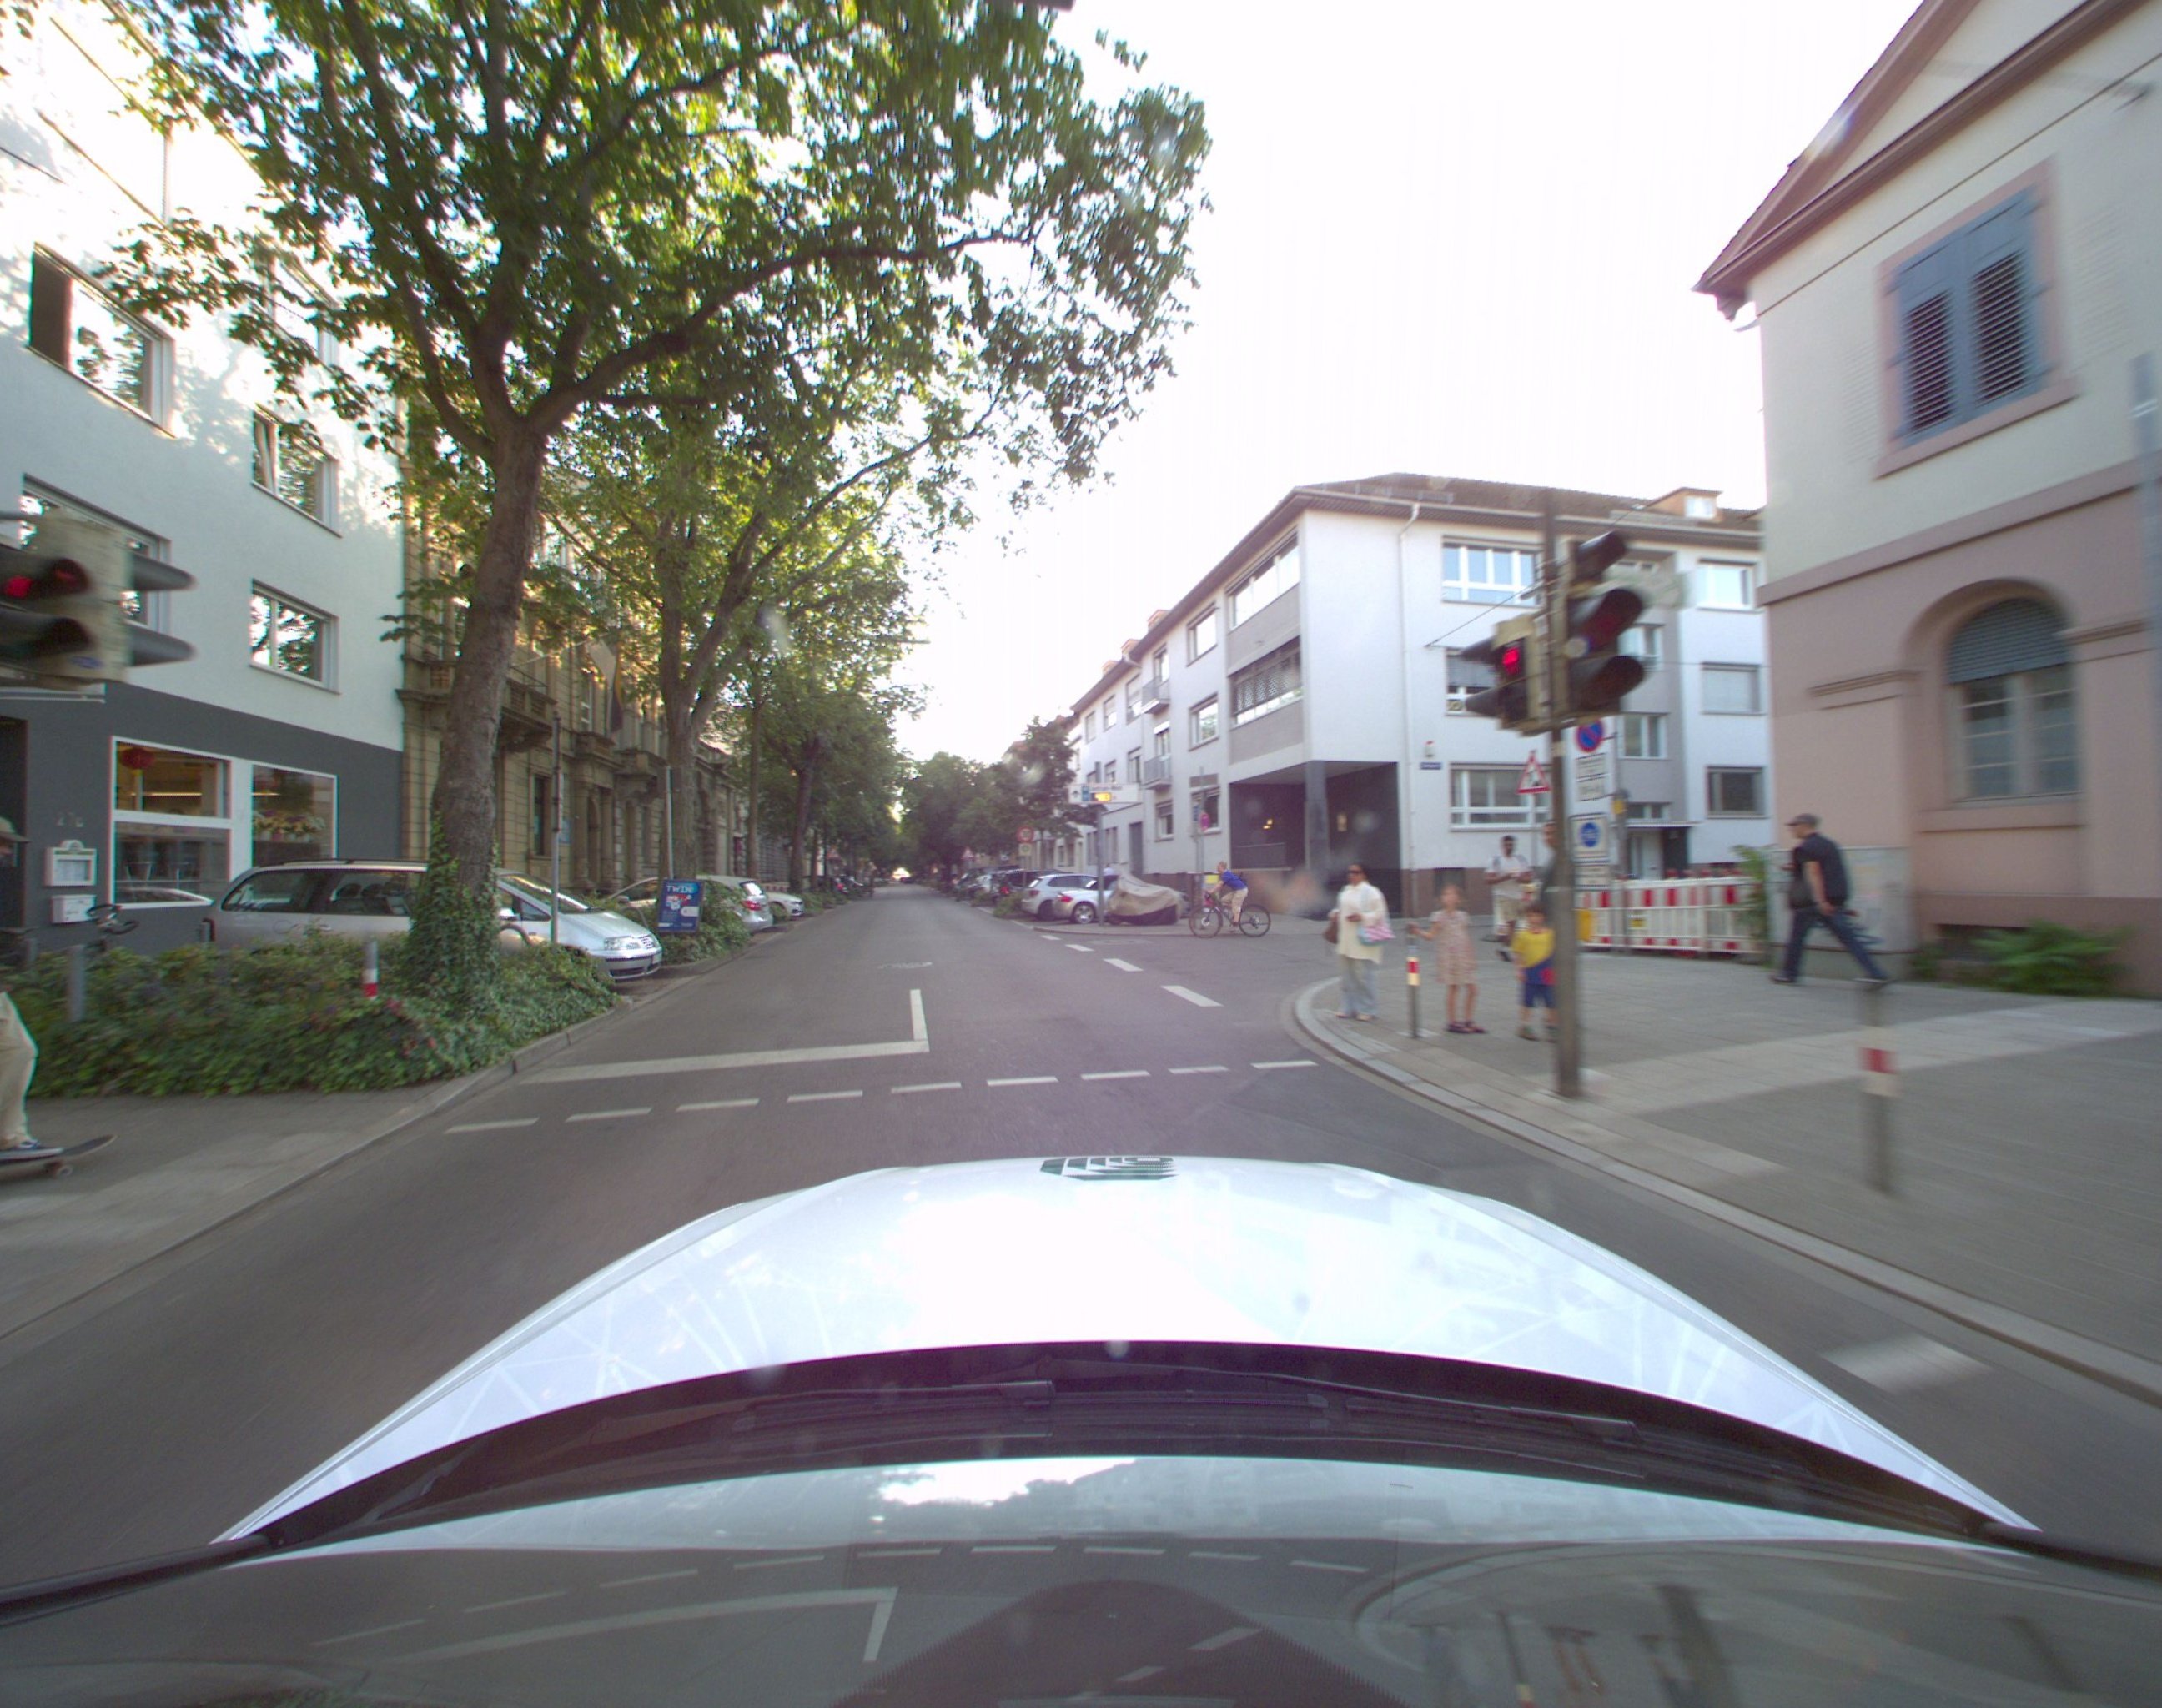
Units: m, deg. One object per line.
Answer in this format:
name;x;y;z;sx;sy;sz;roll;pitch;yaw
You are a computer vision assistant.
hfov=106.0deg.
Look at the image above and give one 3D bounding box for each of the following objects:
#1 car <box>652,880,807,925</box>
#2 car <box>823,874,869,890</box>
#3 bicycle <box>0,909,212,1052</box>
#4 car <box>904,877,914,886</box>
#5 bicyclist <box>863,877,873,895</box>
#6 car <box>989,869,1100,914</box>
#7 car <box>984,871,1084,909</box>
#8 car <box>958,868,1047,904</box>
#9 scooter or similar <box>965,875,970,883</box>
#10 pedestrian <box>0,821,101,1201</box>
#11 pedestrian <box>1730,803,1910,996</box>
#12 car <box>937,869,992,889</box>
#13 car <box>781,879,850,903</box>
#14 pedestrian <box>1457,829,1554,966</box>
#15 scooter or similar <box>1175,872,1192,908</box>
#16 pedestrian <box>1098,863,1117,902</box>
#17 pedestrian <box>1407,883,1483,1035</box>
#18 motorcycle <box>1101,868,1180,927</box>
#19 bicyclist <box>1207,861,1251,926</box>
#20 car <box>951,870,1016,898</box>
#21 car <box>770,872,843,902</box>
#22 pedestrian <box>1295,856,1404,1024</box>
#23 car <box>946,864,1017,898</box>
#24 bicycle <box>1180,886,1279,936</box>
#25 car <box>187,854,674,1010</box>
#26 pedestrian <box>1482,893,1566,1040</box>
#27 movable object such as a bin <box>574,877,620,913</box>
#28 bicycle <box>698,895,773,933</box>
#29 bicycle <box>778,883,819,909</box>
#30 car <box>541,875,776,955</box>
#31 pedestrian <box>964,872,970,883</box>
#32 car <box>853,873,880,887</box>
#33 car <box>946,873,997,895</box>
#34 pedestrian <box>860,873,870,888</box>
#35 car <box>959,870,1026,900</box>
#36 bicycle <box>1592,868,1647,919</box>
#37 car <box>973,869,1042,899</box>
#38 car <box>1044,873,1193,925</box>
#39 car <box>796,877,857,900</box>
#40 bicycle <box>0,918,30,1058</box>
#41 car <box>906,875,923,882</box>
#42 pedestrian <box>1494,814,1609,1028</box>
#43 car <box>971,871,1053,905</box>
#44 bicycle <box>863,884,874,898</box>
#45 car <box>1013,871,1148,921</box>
car;-11.843;1.612;27.724;4.516;1.390;1.908;0;-2;-12
car;-24.529;2.948;85.232;4.429;1.651;1.864;1;-1;-13
bicycle;-9.196;1.109;7.626;0.499;1.108;1.791;2;-2;-14
car;-34.615;5.528;163.916;1.959;1.565;4.263;-3;-2;-13
bicyclist;-15.839;2.392;60.653;0.673;1.264;0.645;-1;-1;-13
car;-1.477;1.461;32.208;4.113;1.617;1.952;-1;-1;-13
car;-2.169;1.632;37.554;4.322;1.496;1.785;-2;-2;-14
car;-4.400;1.778;45.464;4.598;1.578;1.934;-4;-1;-15
scooter or similar;-16.243;3.603;116.472;0.655;1.153;0.828;-2;-2;-12
pedestrian;-5.426;0.723;3.922;0.757;1.777;0.836;1;-1;41
pedestrian;7.465;0.434;8.282;0.698;1.795;1.061;-3;-1;-12
car;-10.048;2.155;70.003;4.409;1.394;1.875;-4;-1;-16
car;-17.153;2.376;52.760;3.968;1.387;1.757;2;-2;-12
pedestrian;6.120;0.605;11.788;0.697;1.855;1.046;-2;-1;-8
scooter or similar;3.593;1.241;28.575;0.345;1.239;1.419;-1;-1;-3
pedestrian;1.250;1.352;38.653;0.698;1.795;0.877;-1;-1;-12
pedestrian;3.181;0.907;7.147;0.485;1.261;0.453;-3;-1;16
motorcycle;1.492;1.088;20.739;1.901;1.392;0.999;-2;-2;0
bicyclist;3.177;0.847;17.521;0.772;1.364;0.673;0;-3;-3
car;-6.672;2.041;55.595;4.163;1.578;1.959;-4;-1;-15
car;-16.666;2.022;49.619;3.969;1.597;1.772;3;-3;-13
pedestrian;2.596;0.800;7.894;0.603;1.511;0.712;-2;-1;-42
car;-7.133;1.932;58.009;4.696;2.011;2.027;-4;-1;-14
bicycle;3.175;1.223;17.508;1.966;1.030;0.673;0;-3;-3
car;-7.918;0.937;10.491;4.432;1.722;1.880;1;-2;-16
pedestrian;3.743;0.927;6.874;0.538;1.145;0.496;-4;-1;30
movable object such as a bin;-14.682;1.240;24.750;0.801;1.062;1.310;2;-2;-14
bicycle;-9.515;1.647;22.492;1.796;1.009;0.596;0;-2;-13
bicycle;-13.376;1.983;38.592;1.770;1.232;0.498;0;-3;-8
car;-9.044;1.270;17.807;4.172;1.557;1.819;0;-2;-11
pedestrian;-16.380;3.438;117.077;0.655;1.536;0.828;-2;-2;-12
car;-38.887;4.762;147.490;4.688;2.478;1.991;-1;-2;-14
car;-9.119;2.494;67.748;3.994;1.437;1.916;-4;-1;-15
pedestrian;-24.575;3.072;92.794;0.825;1.671;0.798;-2;-2;3
car;-5.728;2.015;52.601;3.972;1.578;1.842;-4;-1;-15
bicycle;13.799;0.996;20.836;1.803;1.239;0.527;0;-2;-36
car;-4.358;1.753;48.167;3.799;1.423;1.689;-4;-1;-15
car;1.024;1.264;23.481;3.987;1.333;1.788;-1;-1;-10
car;-19.243;2.635;61.745;4.205;1.672;1.899;1;-1;-13
bicycle;-8.734;1.057;5.777;0.499;1.108;1.791;2;-2;-14
car;-43.125;6.419;211.279;4.274;1.565;1.954;-3;-2;-14
pedestrian;4.125;0.561;7.167;0.543;1.775;0.573;-3;-1;-12
car;-3.691;1.792;43.124;4.077;1.429;1.811;-4;-1;-12
bicycle;-15.828;2.767;60.621;0.673;0.994;1.750;-1;-1;-13
car;-0.049;1.303;25.961;3.991;1.438;1.786;-1;-1;-13
